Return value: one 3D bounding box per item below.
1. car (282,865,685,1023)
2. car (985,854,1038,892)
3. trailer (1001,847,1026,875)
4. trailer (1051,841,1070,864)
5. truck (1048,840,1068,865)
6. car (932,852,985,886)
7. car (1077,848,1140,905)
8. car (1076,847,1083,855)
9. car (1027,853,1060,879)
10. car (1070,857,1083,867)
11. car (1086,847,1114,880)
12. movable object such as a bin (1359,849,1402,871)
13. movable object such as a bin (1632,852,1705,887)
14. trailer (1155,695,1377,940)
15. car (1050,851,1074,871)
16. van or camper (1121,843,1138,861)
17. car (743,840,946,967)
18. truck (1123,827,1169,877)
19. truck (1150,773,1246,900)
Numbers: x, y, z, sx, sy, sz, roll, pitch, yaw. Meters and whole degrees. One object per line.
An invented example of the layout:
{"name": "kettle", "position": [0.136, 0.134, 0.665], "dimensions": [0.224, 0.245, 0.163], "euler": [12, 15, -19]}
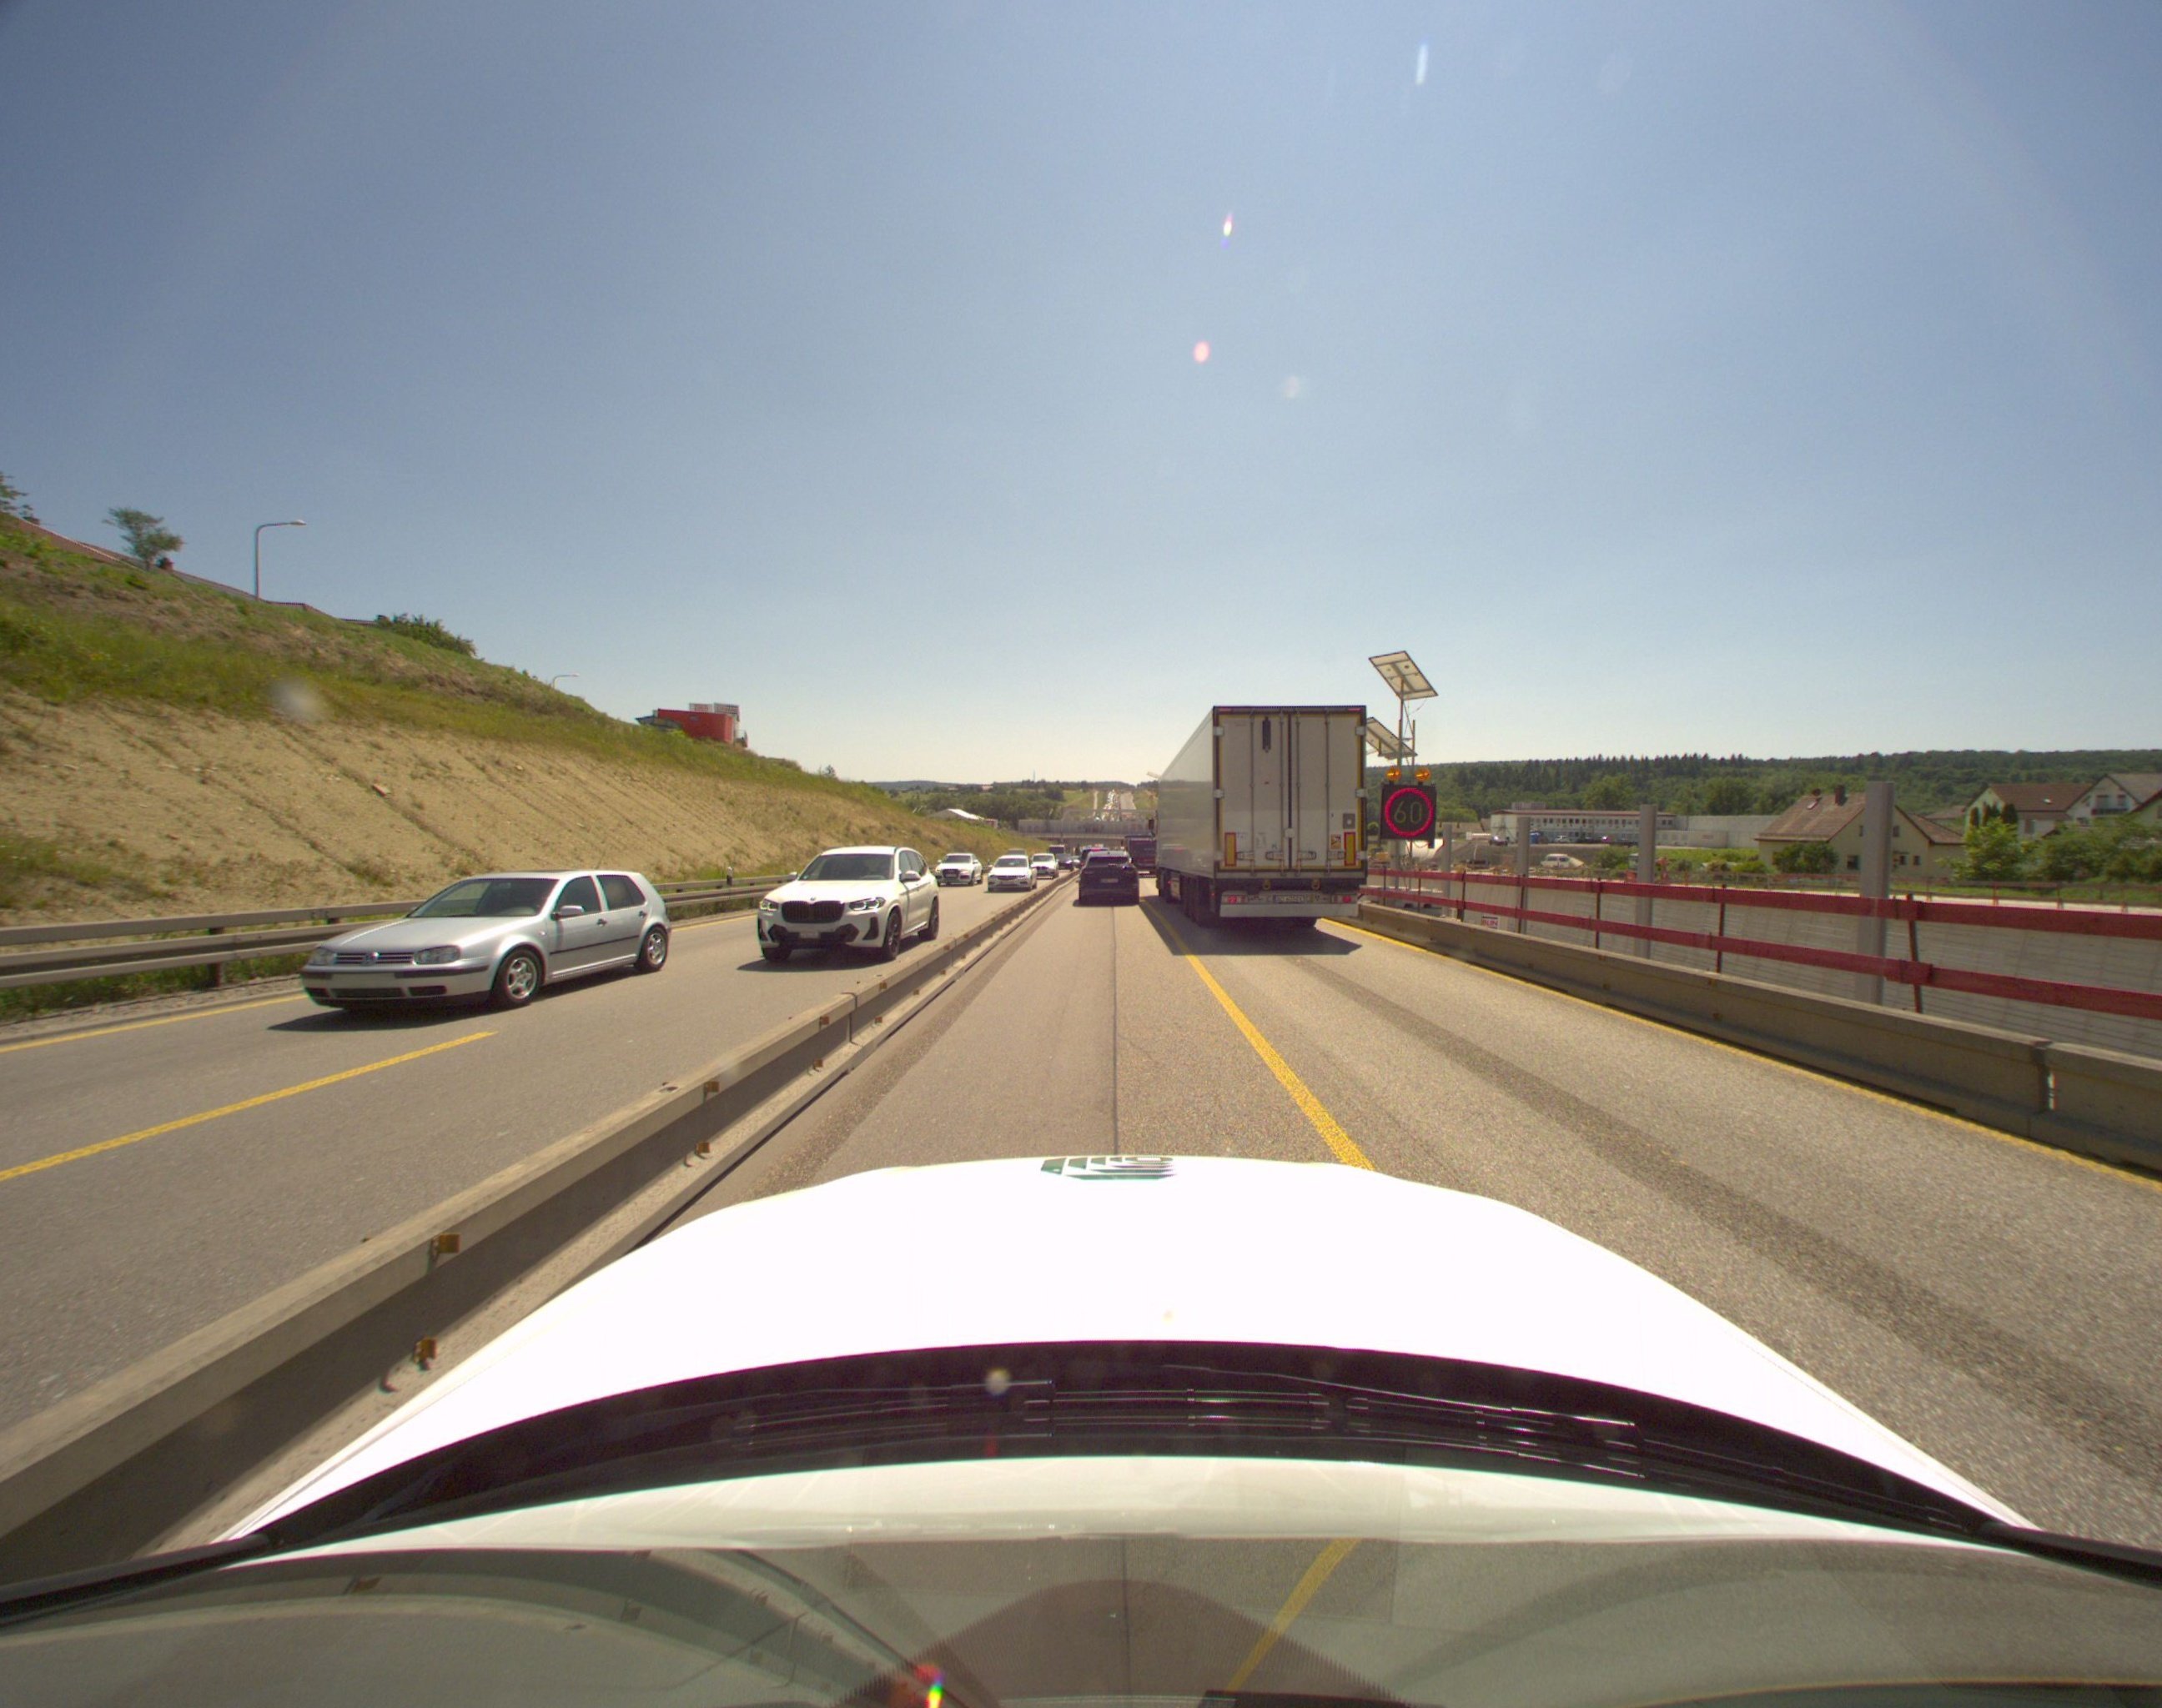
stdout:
{"name": "car", "position": [-6.460, 0.852, 9.470], "dimensions": [1.695, 1.378, 3.968], "euler": [0, 0, 1]}
{"name": "car", "position": [-2.861, 0.769, 34.452], "dimensions": [1.800, 1.477, 4.281], "euler": [0, 0, 1]}
{"name": "trailer", "position": [-5.177, 0.513, 62.888], "dimensions": [1.642, 2.025, 4.268], "euler": [-1, 0, -1]}
{"name": "trailer", "position": [-3.263, -0.203, 133.847], "dimensions": [2.577, 3.637, 9.082], "euler": [-1, 0, 2]}
{"name": "truck", "position": [-3.521, -0.248, 126.421], "dimensions": [2.577, 3.723, 9.336], "euler": [-1, 0, 2]}
{"name": "car", "position": [-6.112, 0.708, 40.976], "dimensions": [1.892, 1.584, 4.515], "euler": [0, 0, 1]}
{"name": "car", "position": [0.839, 0.637, 25.103], "dimensions": [1.793, 1.620, 3.299], "euler": [0, 1, 2]}
{"name": "car", "position": [-0.376, -0.725, 198.833], "dimensions": [1.726, 1.794, 3.581], "euler": [0, 0, 1]}
{"name": "car", "position": [-2.339, 0.712, 51.505], "dimensions": [1.809, 1.592, 4.291], "euler": [0, 0, 1]}
{"name": "car", "position": [-0.593, 1.084, 113.789], "dimensions": [1.679, 1.430, 3.293], "euler": [-1, 0, 1]}
{"name": "car", "position": [1.090, 0.523, 46.069], "dimensions": [1.469, 1.795, 3.300], "euler": [-1, 0, 3]}
{"name": "movable object such as a bin", "position": [41.602, 0.825, 113.354], "dimensions": [2.876, 2.909, 9.485], "euler": [0, 0, 3]}
{"name": "movable object such as a bin", "position": [38.762, 0.988, 53.888], "dimensions": [1.985, 2.239, 4.154], "euler": [0, 0, 2]}
{"name": "trailer", "position": [3.729, -0.579, 20.658], "dimensions": [2.791, 4.058, 14.121], "euler": [-1, 0, 2]}
{"name": "car", "position": [-1.722, 0.618, 74.814], "dimensions": [1.883, 1.708, 4.564], "euler": [-1, 0, 2]}
{"name": "van or camper", "position": [6.134, -0.309, 103.722], "dimensions": [1.986, 2.244, 4.003], "euler": [1, 0, 2]}
{"name": "car", "position": [-3.554, 0.660, 13.223], "dimensions": [1.884, 1.708, 4.562], "euler": [0, 0, 1]}
{"name": "truck", "position": [4.465, -0.121, 58.178], "dimensions": [2.803, 3.135, 12.845], "euler": [-1, 0, 2]}
{"name": "truck", "position": [3.975, -0.563, 28.668], "dimensions": [2.766, 4.058, 4.906], "euler": [-1, 0, 1]}
